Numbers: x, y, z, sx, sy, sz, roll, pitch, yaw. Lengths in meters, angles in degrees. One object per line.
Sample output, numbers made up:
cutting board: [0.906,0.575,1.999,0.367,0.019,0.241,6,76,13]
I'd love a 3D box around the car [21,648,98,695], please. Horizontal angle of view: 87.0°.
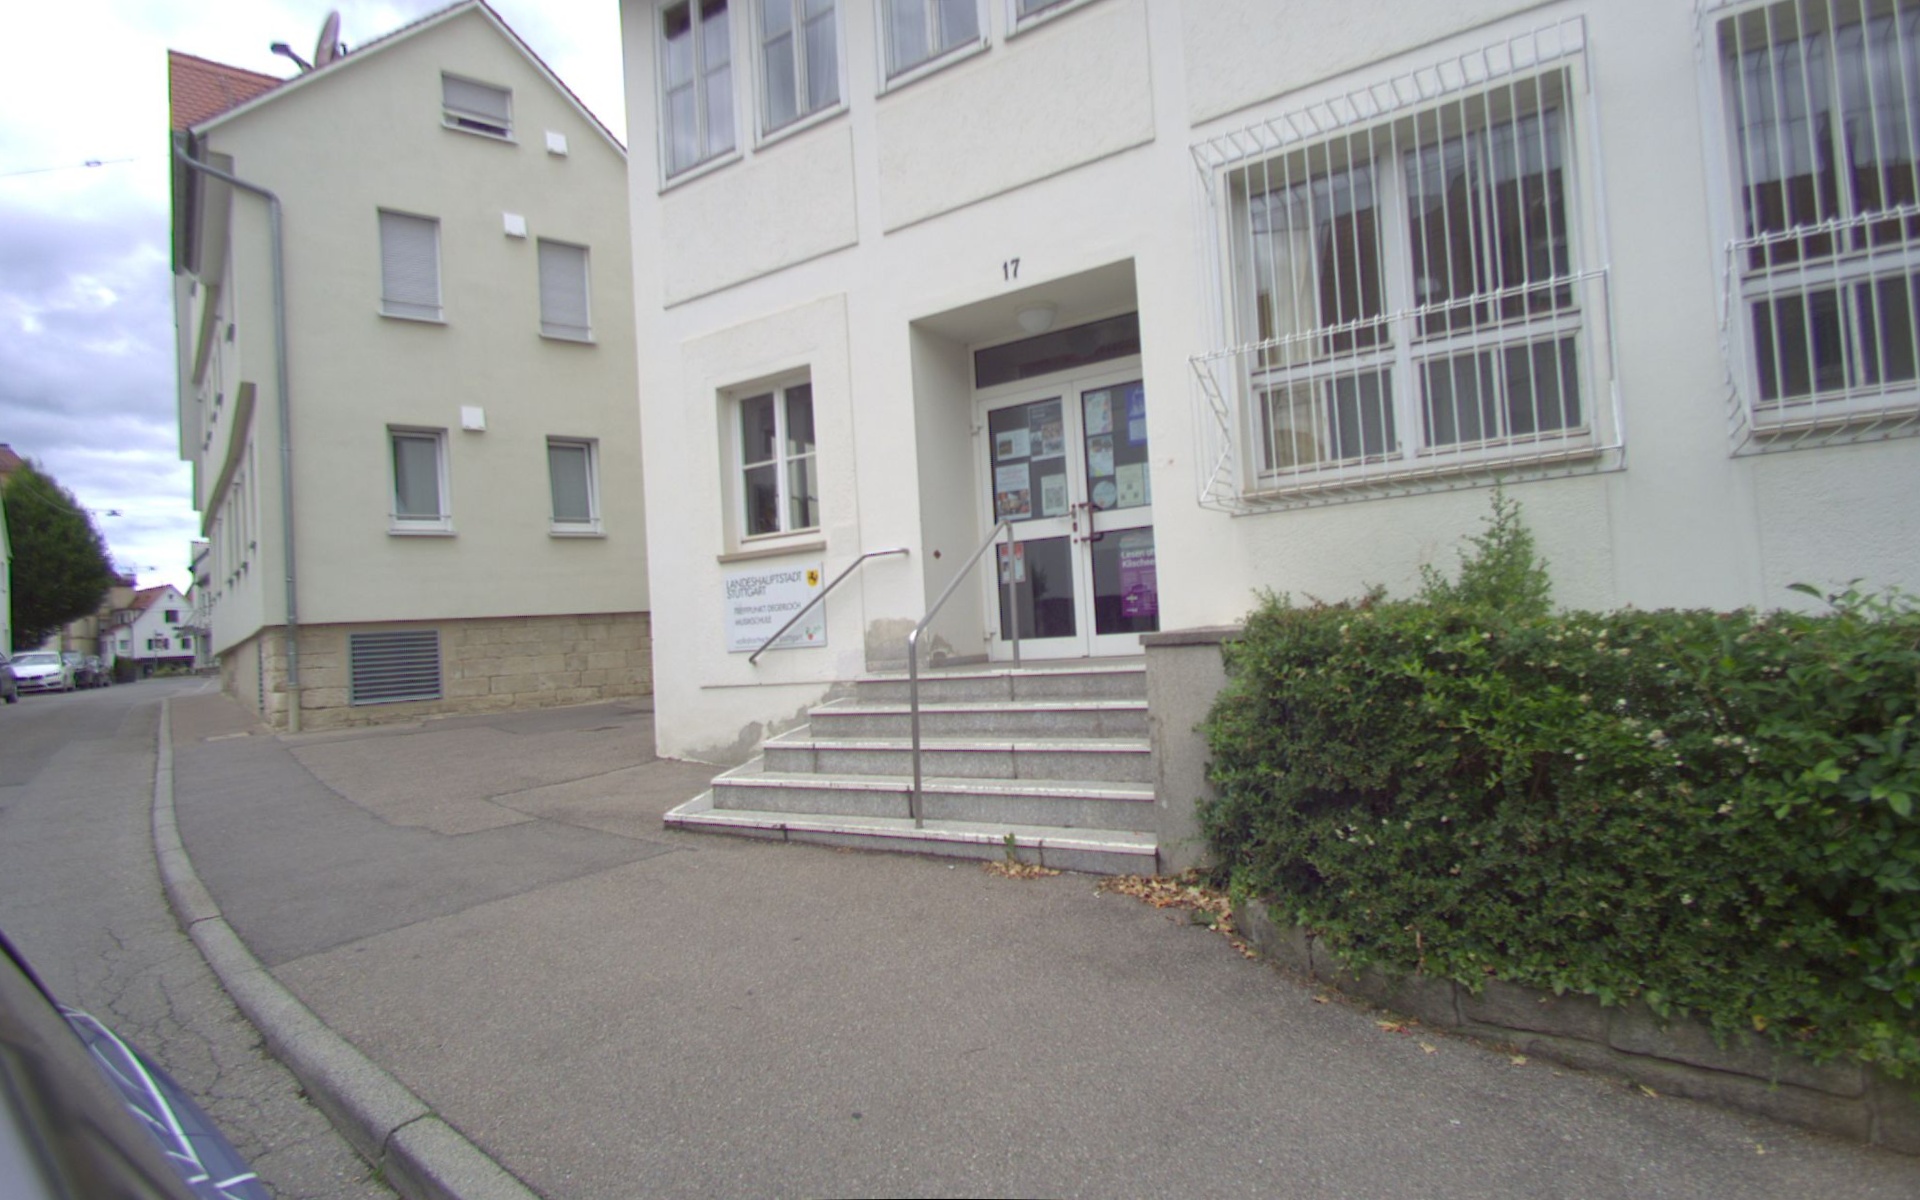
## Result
car: [-36.089,2.846,40.647,1.743,1.632,4.292,-4,-1,-35]

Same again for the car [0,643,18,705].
car: [-24.955,1.915,25.302,1.617,1.523,3.849,-3,-2,-37]

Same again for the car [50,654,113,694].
car: [-40.341,3.372,46.567,1.743,1.605,4.049,-4,-1,-36]

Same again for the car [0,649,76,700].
car: [-32.834,2.627,36.027,1.743,1.574,4.048,-3,-1,-38]
